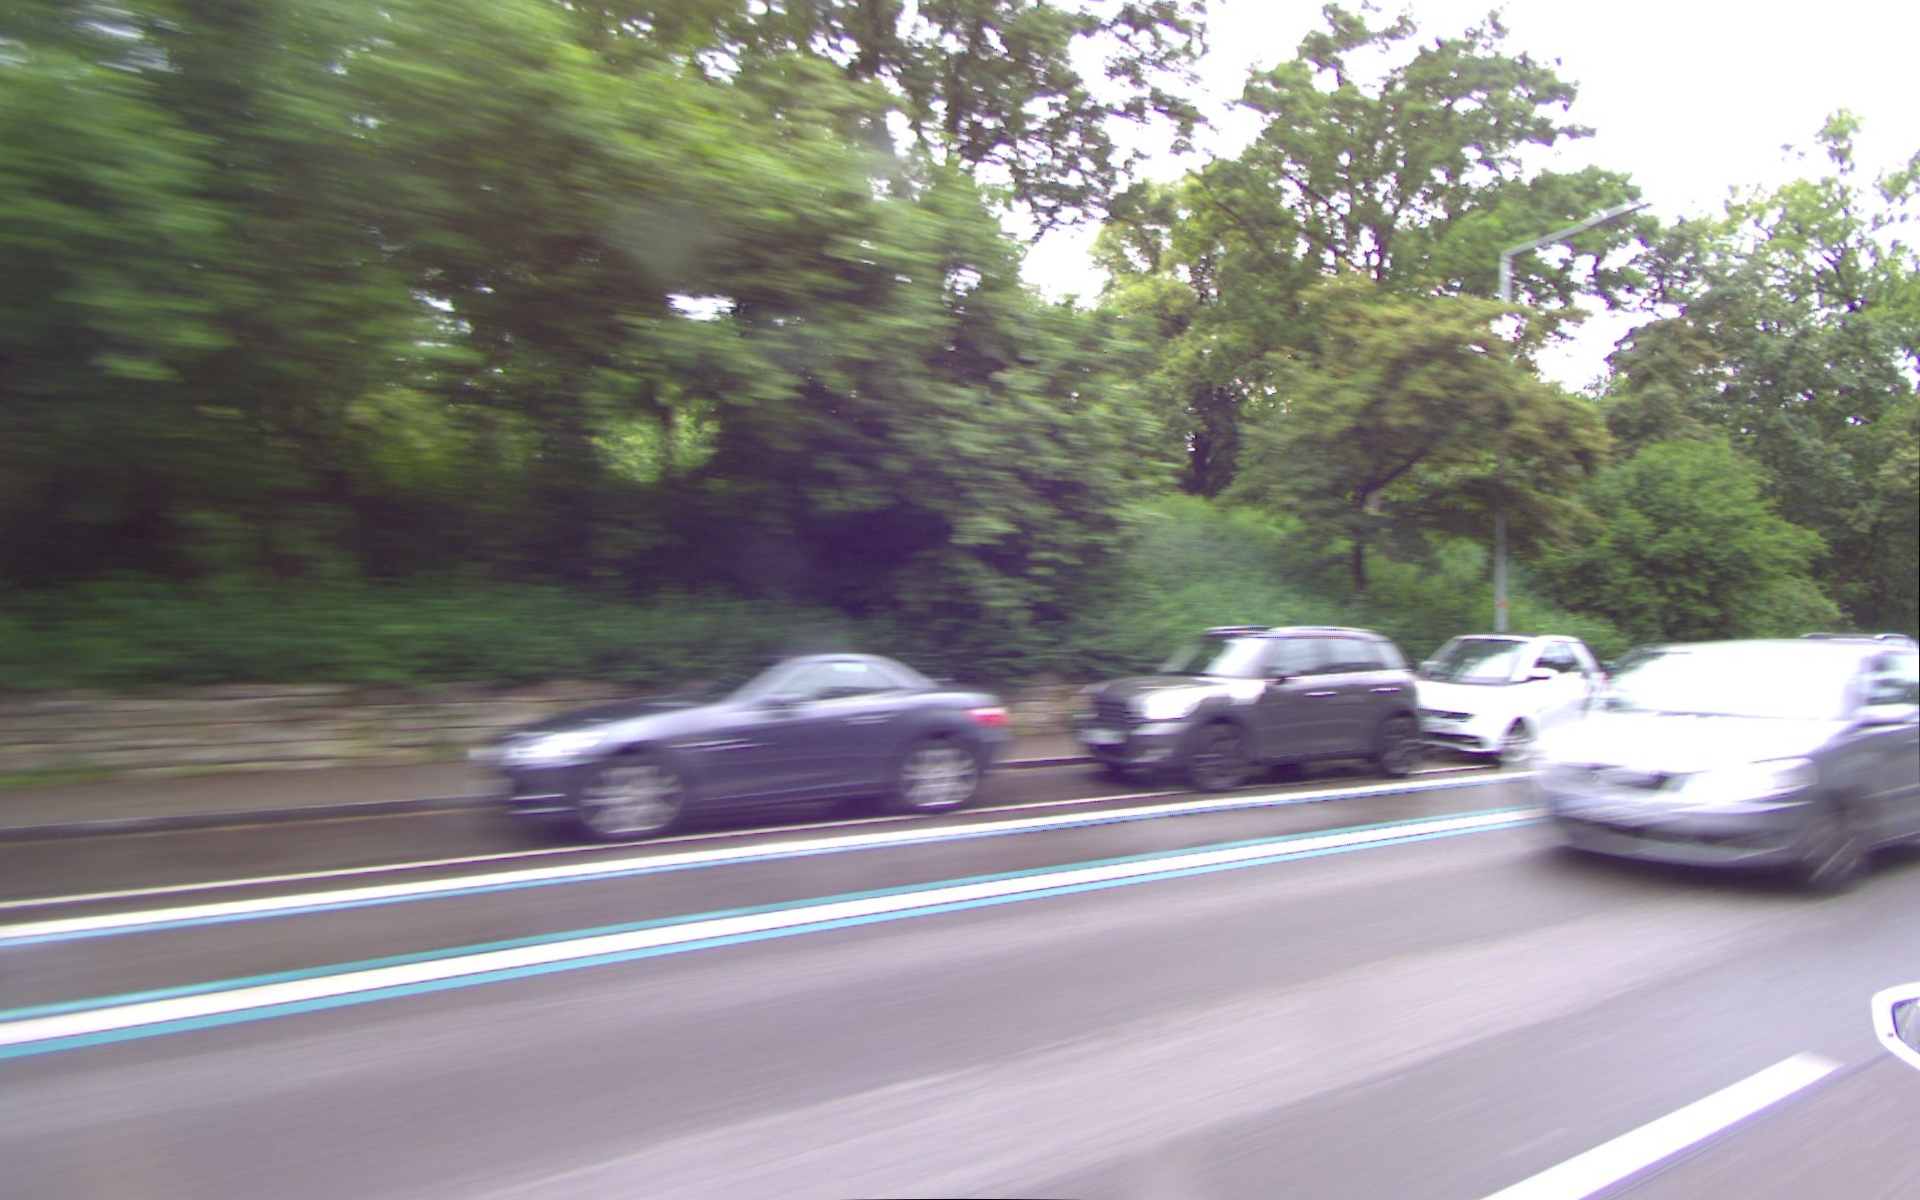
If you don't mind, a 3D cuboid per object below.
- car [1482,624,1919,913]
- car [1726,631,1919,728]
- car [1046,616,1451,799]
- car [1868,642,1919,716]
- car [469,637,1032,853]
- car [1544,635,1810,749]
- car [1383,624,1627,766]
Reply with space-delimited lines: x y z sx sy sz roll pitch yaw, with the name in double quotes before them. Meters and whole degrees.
"car" 5.628 0.946 6.981 3.987 1.504 1.691 2 -2 -30
"car" 16.488 1.420 18.793 4.415 1.582 1.871 2 -1 -30
"car" 3.085 1.011 10.575 4.087 1.605 1.689 2 -1 -28
"car" 22.073 1.724 21.996 4.415 1.508 1.984 2 -1 -30
"car" -1.609 0.999 8.123 4.142 1.318 1.688 2 -1 -30
"car" 11.293 1.352 15.744 4.417 1.508 1.799 2 -1 -31
"car" 6.960 1.130 12.796 2.950 1.592 1.453 2 -1 -31
